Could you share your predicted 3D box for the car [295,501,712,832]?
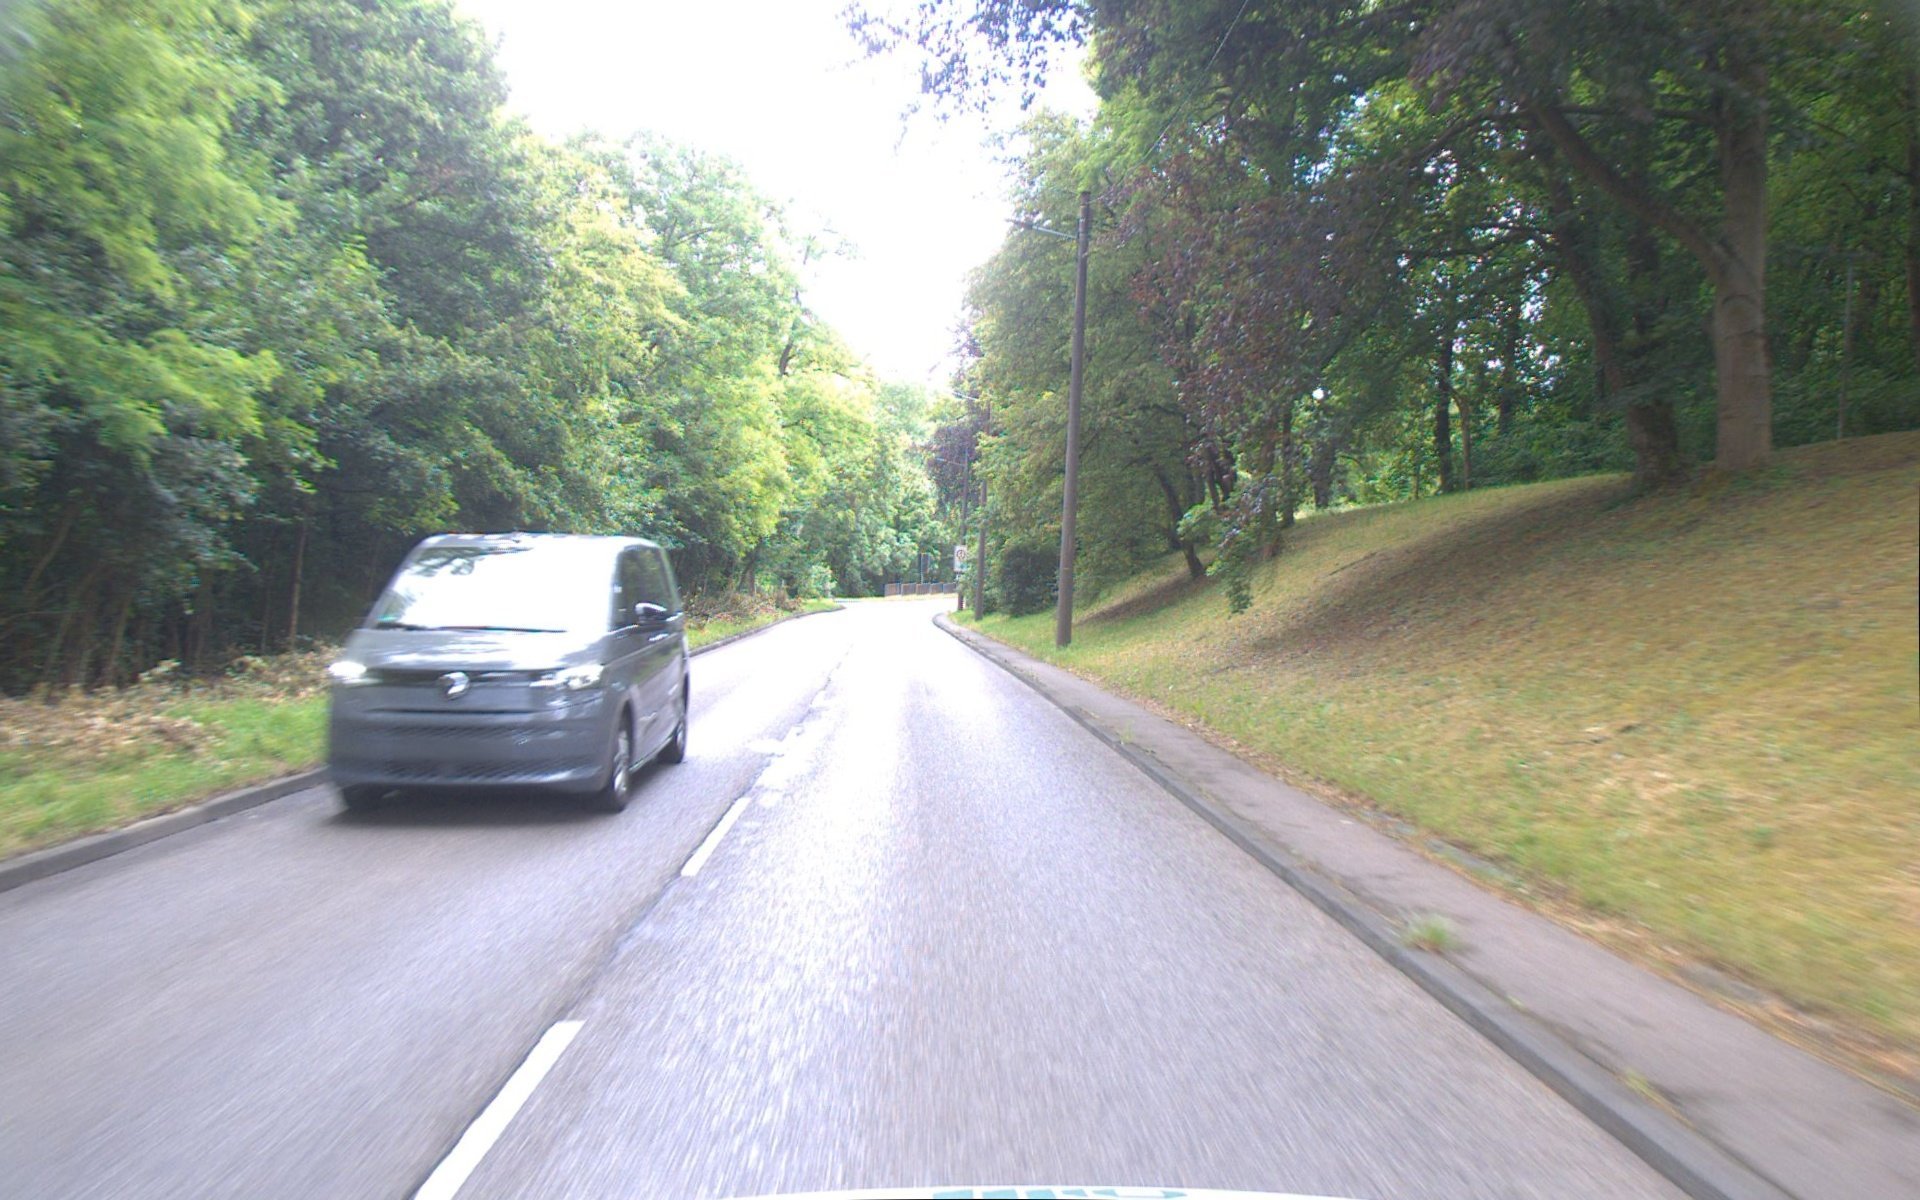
[{"bbox_3d":[-3.155,0.409,12.580,1.954,1.982,4.943,1,0,-3],"label":"car"}]
